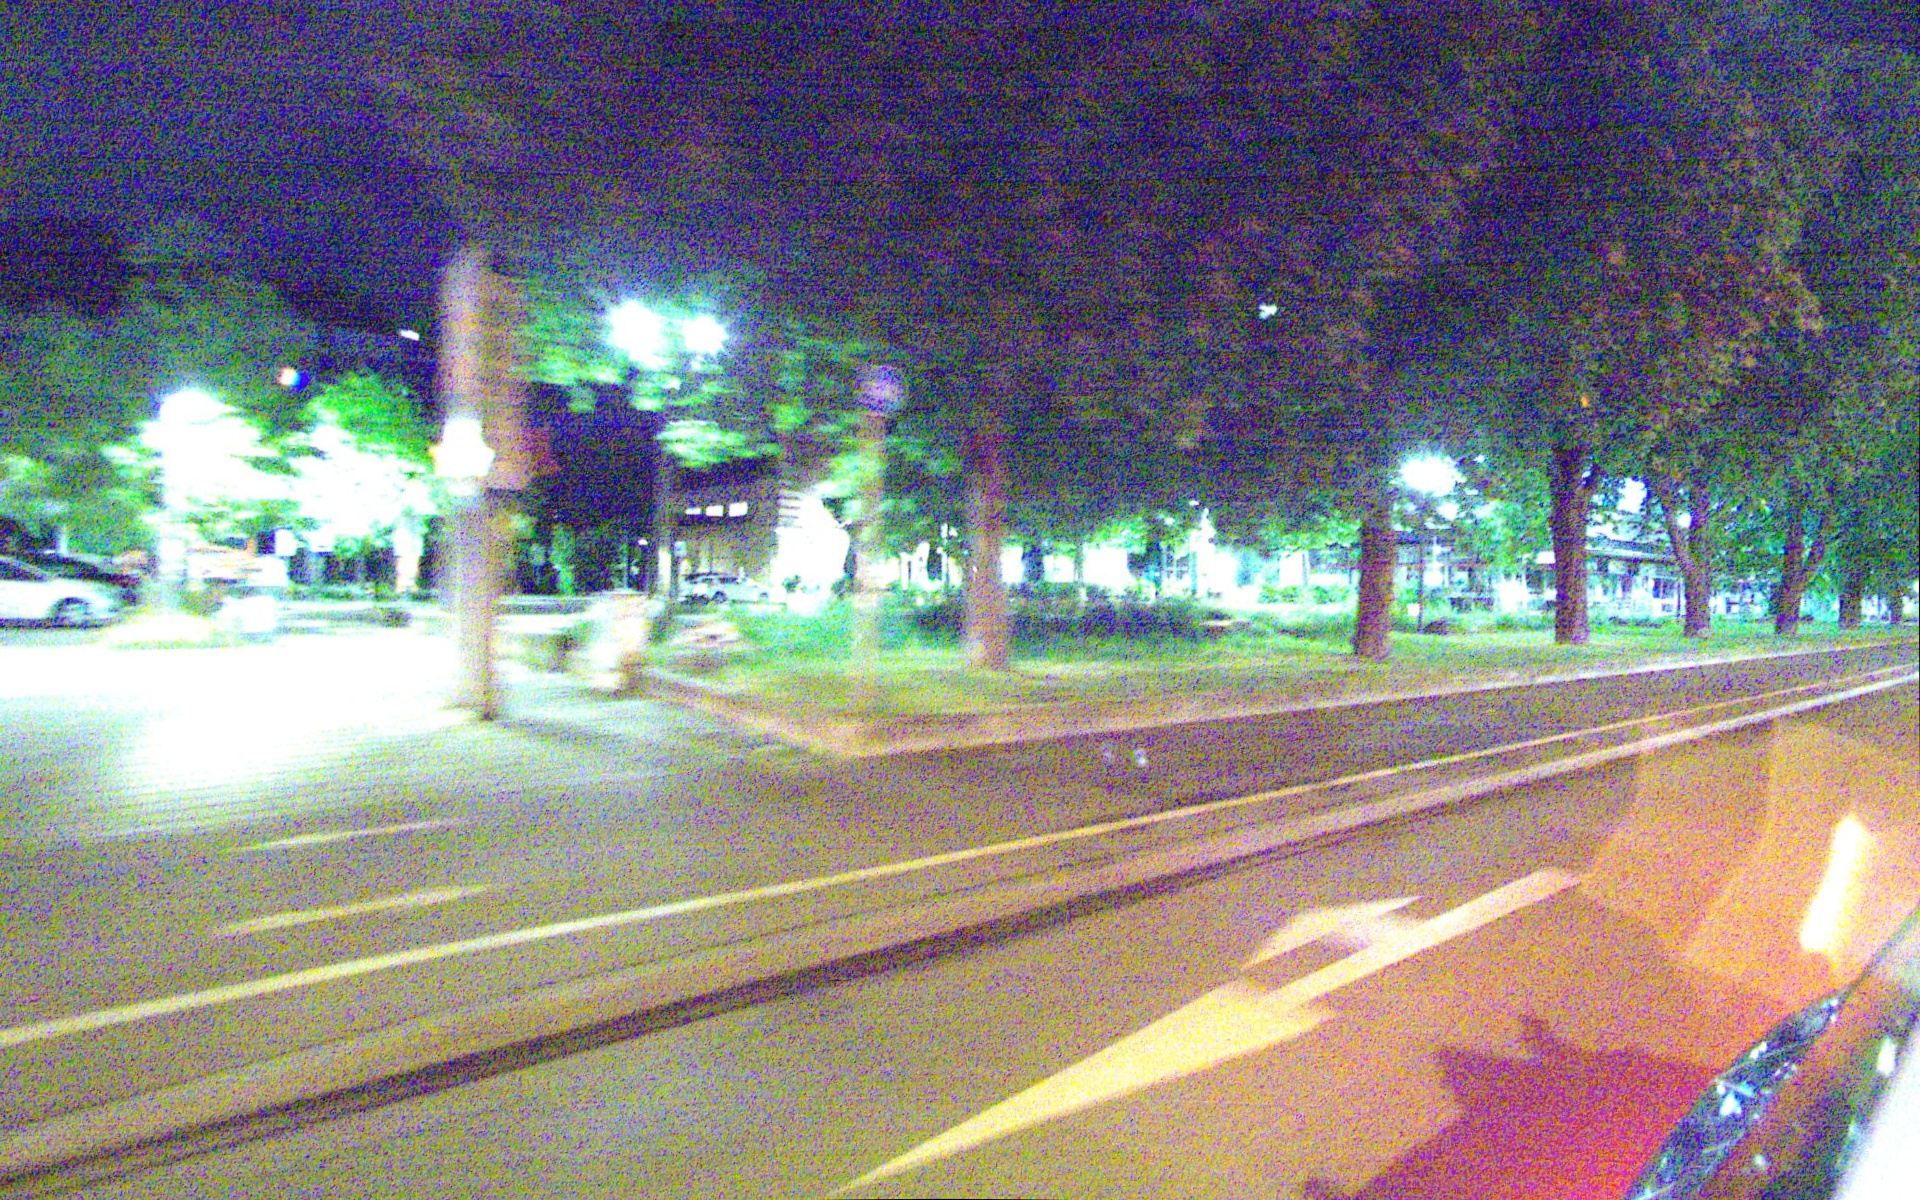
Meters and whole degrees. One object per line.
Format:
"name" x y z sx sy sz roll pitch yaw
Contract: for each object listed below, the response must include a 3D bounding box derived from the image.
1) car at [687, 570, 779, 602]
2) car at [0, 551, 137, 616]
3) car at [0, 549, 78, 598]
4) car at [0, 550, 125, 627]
"car" -11.755 -0.703 52.528 4.224 1.527 1.998 1 1 -40
"car" -23.044 -0.409 24.488 4.806 1.531 1.893 0 1 -41
"car" -35.450 -1.026 38.855 2.041 1.787 4.551 1 1 -37
"car" -19.902 -0.257 20.907 4.024 1.552 1.772 0 1 -39
